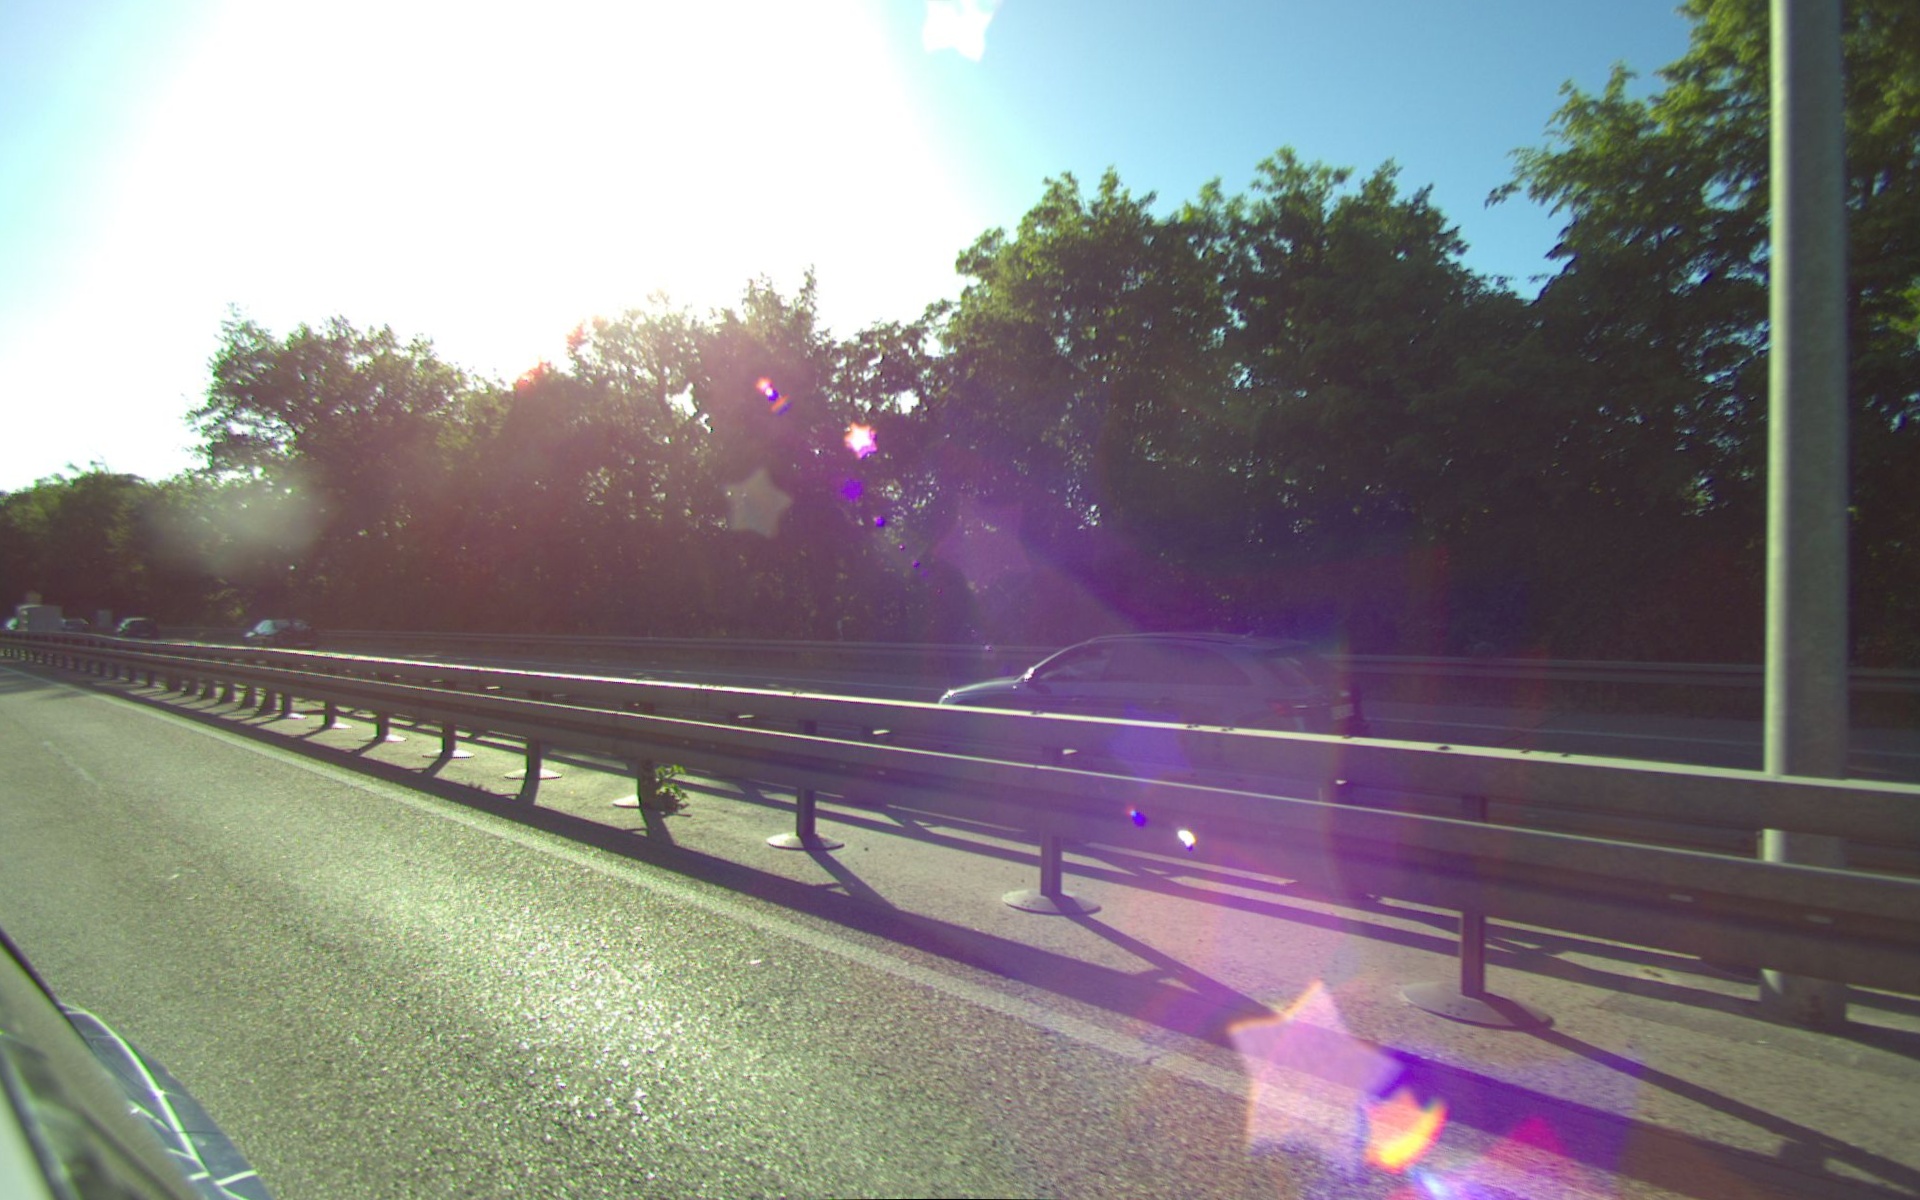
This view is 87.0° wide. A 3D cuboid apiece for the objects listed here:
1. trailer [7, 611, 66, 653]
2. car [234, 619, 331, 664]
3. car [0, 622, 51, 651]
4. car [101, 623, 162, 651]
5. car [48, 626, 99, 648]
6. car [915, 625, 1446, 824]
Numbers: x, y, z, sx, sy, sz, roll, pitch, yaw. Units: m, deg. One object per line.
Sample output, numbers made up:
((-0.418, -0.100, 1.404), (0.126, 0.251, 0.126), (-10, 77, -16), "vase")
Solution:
((-55.743, 1.912, 61.057), (4.601, 2.456, 1.974), (-1, -2, 39), "trailer")
((-29.113, 1.731, 43.412), (5.874, 1.738, 2.097), (-1, 0, 42), "car")
((-59.531, 2.319, 64.145), (5.218, 1.761, 2.051), (-1, -2, 39), "car")
((-51.314, 2.271, 62.666), (5.055, 1.626, 2.050), (-1, -1, 40), "car")
((-65.079, 2.686, 74.277), (4.981, 1.478, 2.050), (-1, 0, 40), "car")
((1.970, 1.017, 10.142), (4.875, 1.478, 1.940), (-1, 0, 42), "car")
